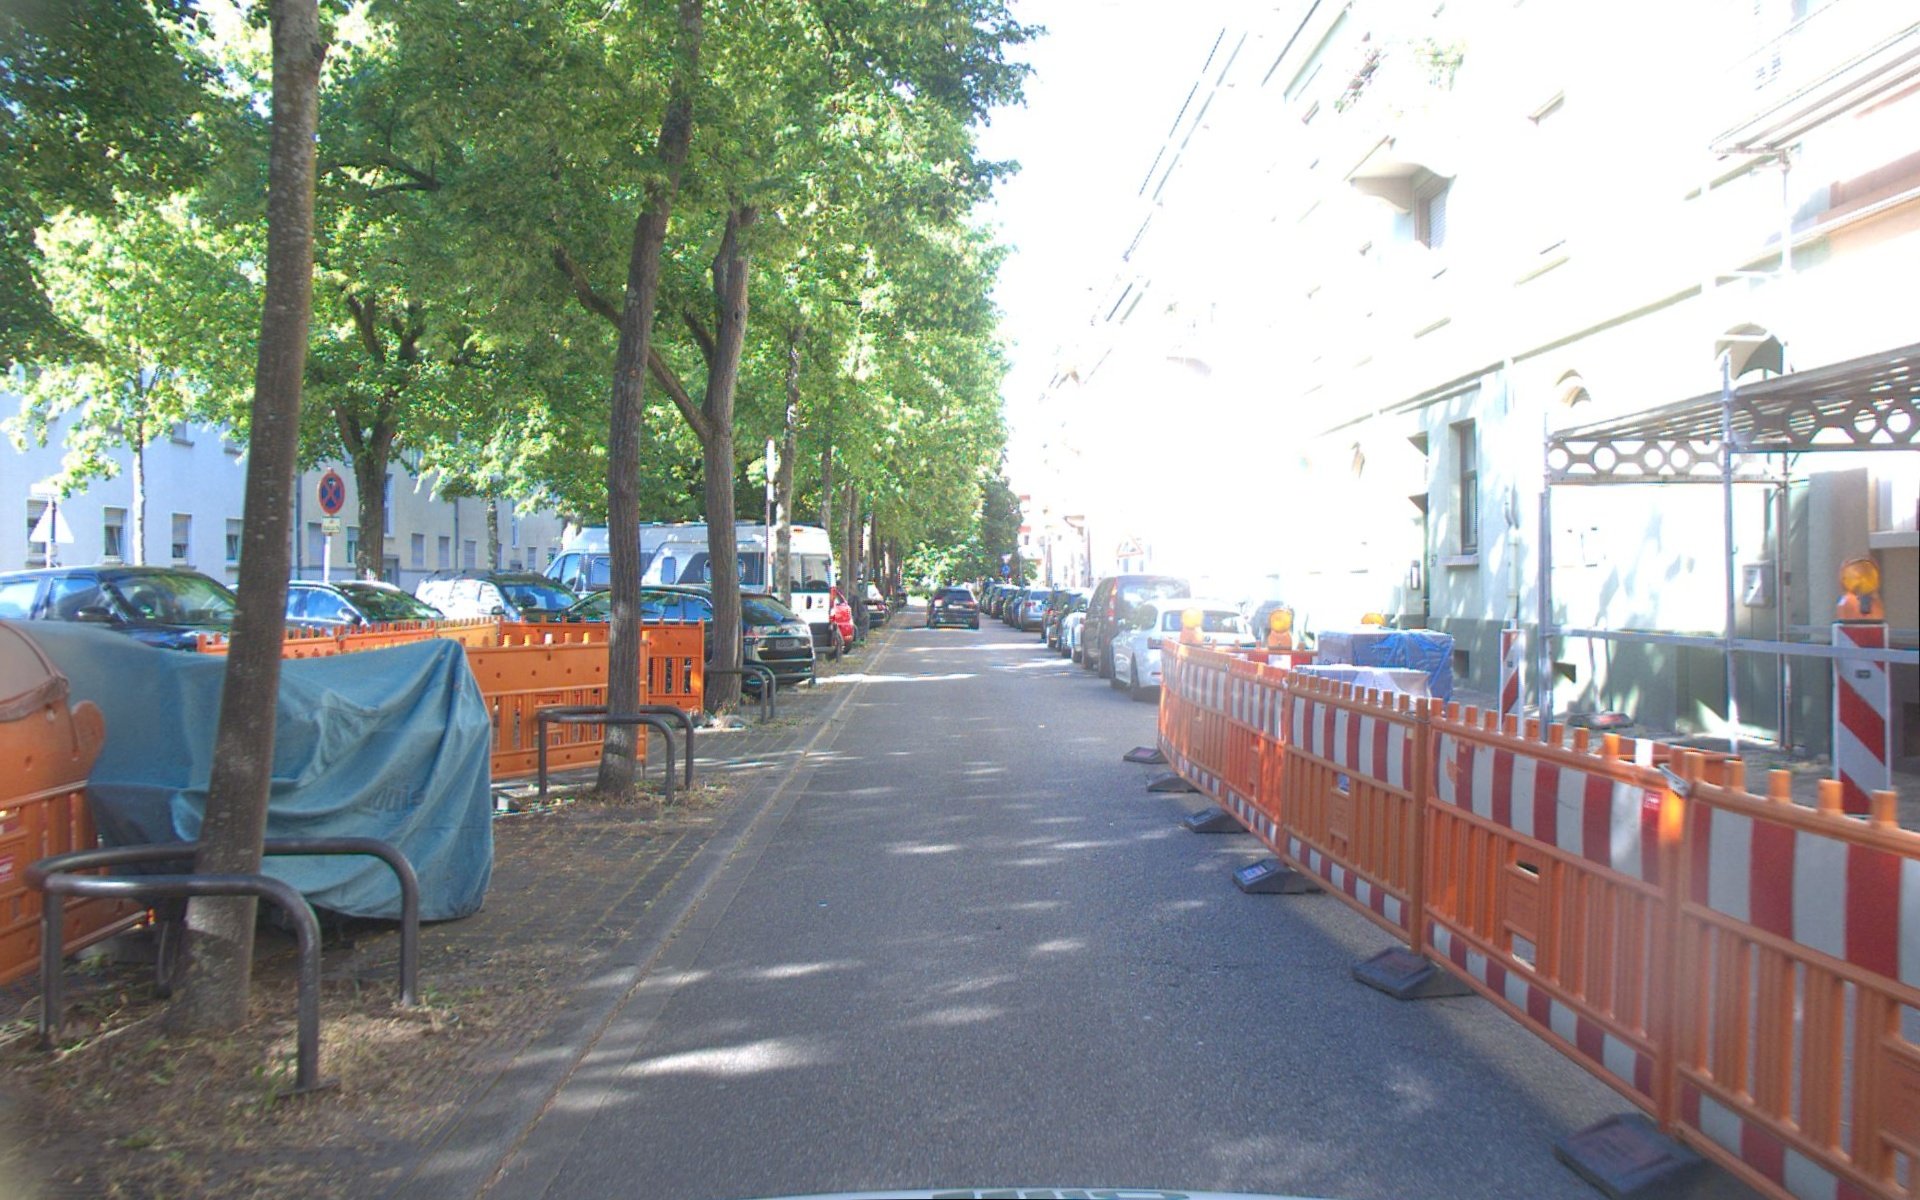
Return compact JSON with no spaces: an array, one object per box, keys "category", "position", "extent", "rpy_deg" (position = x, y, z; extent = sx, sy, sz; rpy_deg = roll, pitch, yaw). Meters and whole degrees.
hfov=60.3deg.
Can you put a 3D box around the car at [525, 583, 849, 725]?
[{"category":"car","position":[-3.667,0.736,22.076],"extent":[4.010,1.552,1.699],"rpy_deg":[-6,-2,29]}]

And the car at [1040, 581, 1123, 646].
[{"category":"car","position":[3.018,0.305,41.712],"extent":[1.567,1.518,3.964],"rpy_deg":[-1,1,-3]}]

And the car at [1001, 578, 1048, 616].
[{"category":"car","position":[2.575,-0.132,66.983],"extent":[1.658,1.493,4.004],"rpy_deg":[1,1,-1]}]

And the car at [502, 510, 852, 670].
[{"category":"car","position":[-5.116,-0.175,29.519],"extent":[6.192,2.603,2.333],"rpy_deg":[0,0,32]}]

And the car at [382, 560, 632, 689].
[{"category":"car","position":[-7.480,0.354,27.113],"extent":[4.307,1.948,1.988],"rpy_deg":[0,1,43]}]

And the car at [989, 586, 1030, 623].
[{"category":"car","position":[2.289,0.191,77.178],"extent":[1.768,1.591,4.321],"rpy_deg":[-2,1,0]}]

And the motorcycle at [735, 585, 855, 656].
[{"category":"motorcycle","position":[-3.246,0.397,32.521],"extent":[2.277,1.358,0.967],"rpy_deg":[1,0,-10]}]

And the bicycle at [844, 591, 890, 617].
[{"category":"bicycle","position":[-3.665,0.171,65.076],"extent":[1.772,1.011,0.426],"rpy_deg":[-1,0,14]}]

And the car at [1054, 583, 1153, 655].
[{"category":"car","position":[3.062,0.365,36.068],"extent":[1.574,1.445,4.567],"rpy_deg":[-1,1,-2]}]

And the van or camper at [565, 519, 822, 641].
[{"category":"van or camper","position":[-6.715,-0.523,41.506],"extent":[6.165,2.874,2.404],"rpy_deg":[1,1,28]}]

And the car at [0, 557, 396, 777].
[{"category":"car","position":[-6.969,0.526,13.946],"extent":[4.035,1.654,1.698],"rpy_deg":[-1,1,22]}]

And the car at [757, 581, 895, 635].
[{"category":"car","position":[-3.998,0.240,49.065],"extent":[3.937,1.499,1.621],"rpy_deg":[-1,1,35]}]

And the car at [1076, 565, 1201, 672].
[{"category":"car","position":[3.239,0.302,30.644],"extent":[1.735,1.825,3.988],"rpy_deg":[-1,1,-2]}]

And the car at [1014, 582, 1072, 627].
[{"category":"car","position":[2.822,0.127,56.989],"extent":[1.734,1.456,4.290],"rpy_deg":[-1,1,-1]}]

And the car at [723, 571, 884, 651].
[{"category":"car","position":[-3.513,0.230,36.667],"extent":[1.649,1.646,3.823],"rpy_deg":[-2,1,-40]}]

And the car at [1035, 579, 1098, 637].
[{"category":"car","position":[3.005,0.191,47.221],"extent":[1.548,1.578,4.042],"rpy_deg":[0,1,0]}]

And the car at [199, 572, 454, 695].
[{"category":"car","position":[-8.143,0.398,21.296],"extent":[2.884,1.478,1.245],"rpy_deg":[1,0,16]}]

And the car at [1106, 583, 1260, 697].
[{"category":"car","position":[3.271,0.533,25.001],"extent":[1.670,1.538,4.283],"rpy_deg":[-1,1,-1]}]

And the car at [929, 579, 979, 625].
[{"category":"car","position":[-0.177,0.036,58.794],"extent":[1.679,1.508,4.145],"rpy_deg":[-2,1,0]}]

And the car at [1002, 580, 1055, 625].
[{"category":"car","position":[2.537,0.067,62.188],"extent":[1.731,1.579,4.183],"rpy_deg":[-1,1,-1]}]

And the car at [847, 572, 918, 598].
[{"category":"car","position":[-4.696,-0.910,100.140],"extent":[4.016,1.492,1.861],"rpy_deg":[1,-1,-12]}]

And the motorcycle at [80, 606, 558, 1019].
[{"category":"motorcycle","position":[-2.446,0.715,6.684],"extent":[0.617,1.347,2.230],"rpy_deg":[1,0,14]}]

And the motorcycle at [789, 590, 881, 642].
[{"category":"motorcycle","position":[-3.042,0.376,40.284],"extent":[2.101,1.251,0.882],"rpy_deg":[0,1,8]}]
